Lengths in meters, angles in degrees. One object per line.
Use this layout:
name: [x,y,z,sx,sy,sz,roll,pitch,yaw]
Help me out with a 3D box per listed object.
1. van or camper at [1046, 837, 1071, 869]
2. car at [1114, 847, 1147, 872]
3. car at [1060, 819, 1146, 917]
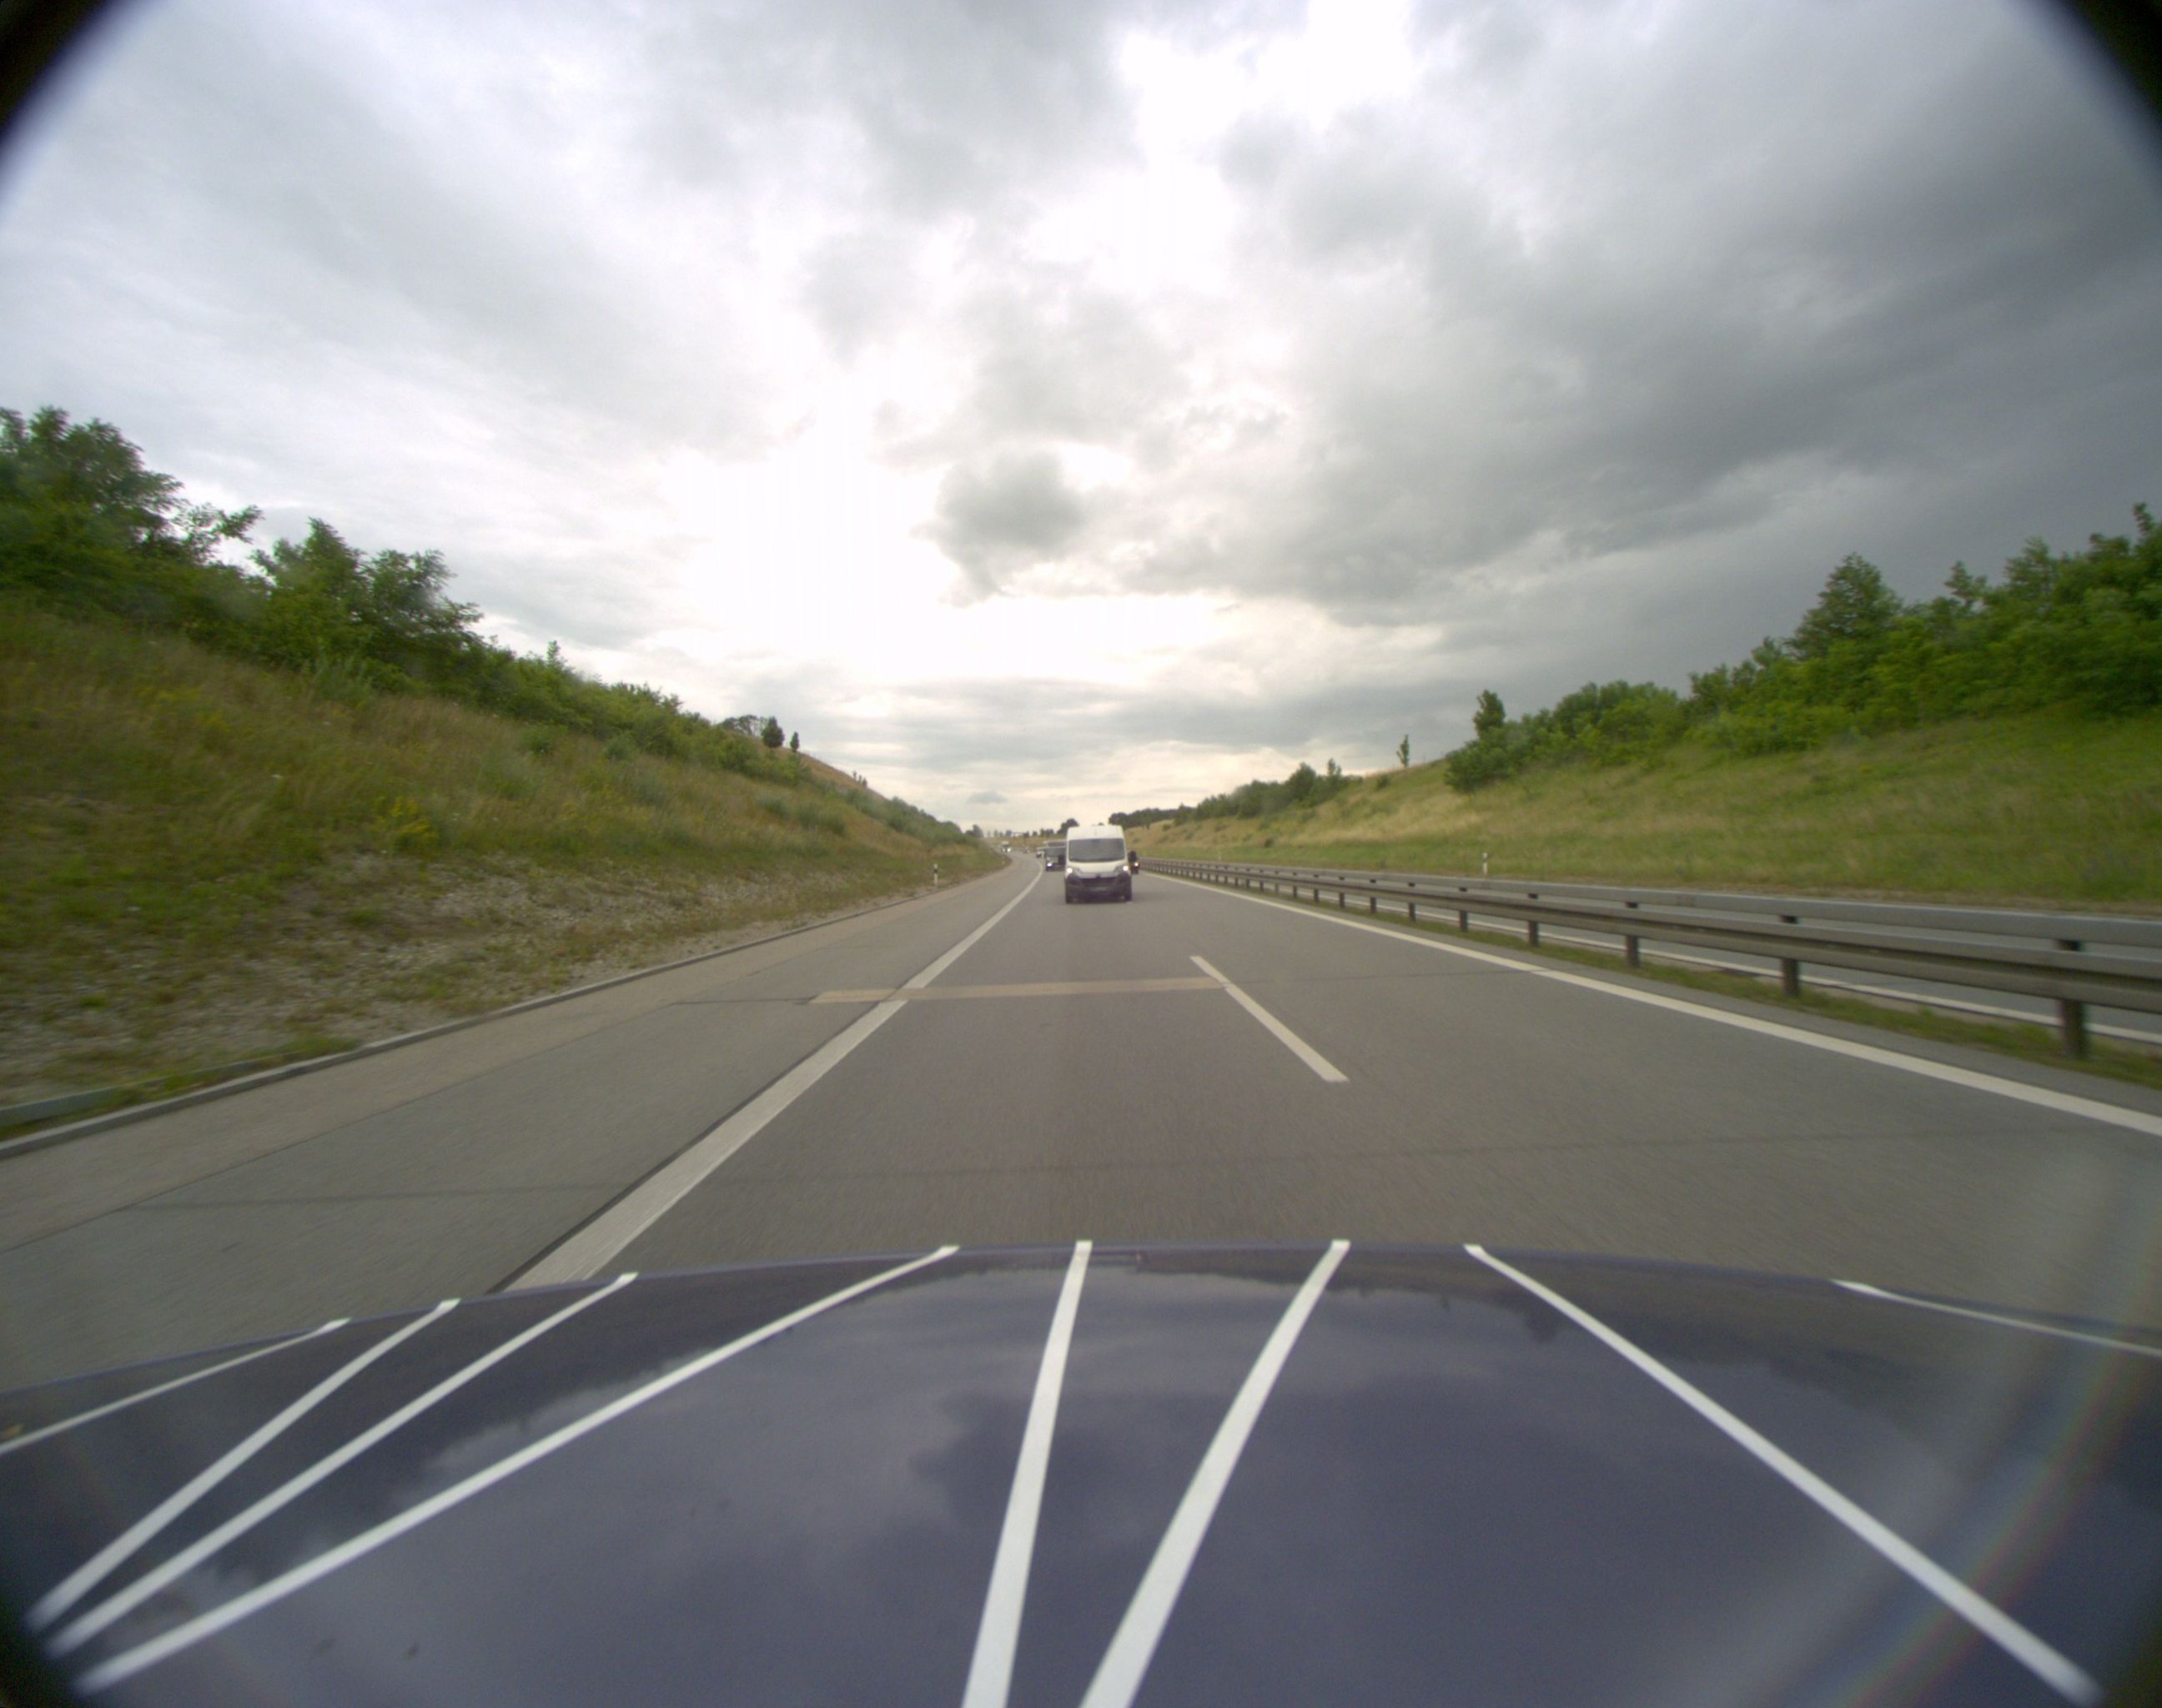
van or camper: [-2.106,-0.119,69.251,2.104,2.722,6.899,-2,1,-3]
car: [3.407,0.342,52.953,1.901,1.661,5.396,-1,0,0]
car: [0.523,0.302,22.212,2.132,2.412,6.110,-1,1,-1]
